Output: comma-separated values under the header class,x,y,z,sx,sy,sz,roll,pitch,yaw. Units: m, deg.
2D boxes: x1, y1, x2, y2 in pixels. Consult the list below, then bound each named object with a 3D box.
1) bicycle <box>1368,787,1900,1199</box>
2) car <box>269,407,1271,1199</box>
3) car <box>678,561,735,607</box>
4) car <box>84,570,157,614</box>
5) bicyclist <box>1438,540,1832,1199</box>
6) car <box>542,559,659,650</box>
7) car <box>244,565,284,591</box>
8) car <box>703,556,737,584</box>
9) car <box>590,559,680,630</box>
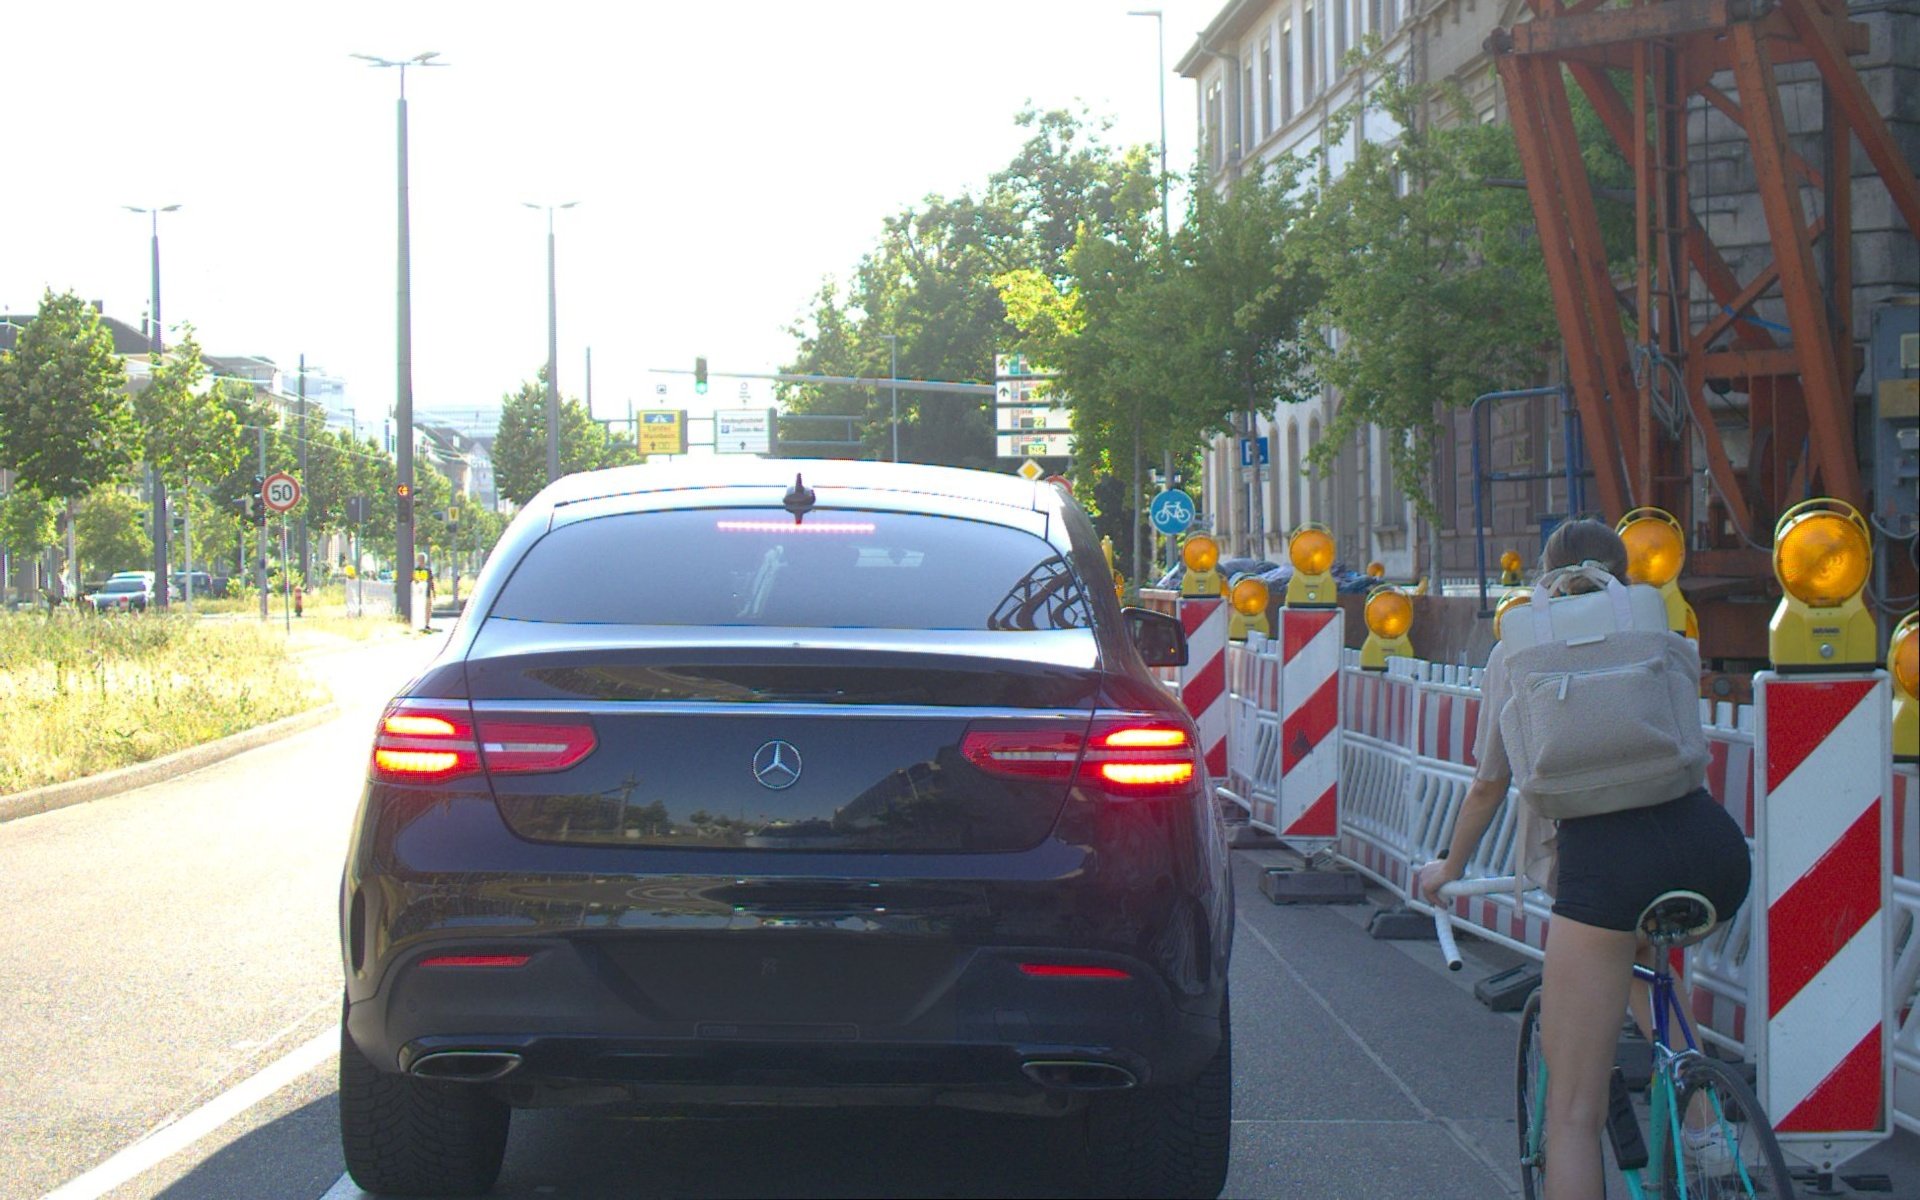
class,x,y,z,sx,sy,sz,roll,pitch,yaw
bicycle,1.144,0.919,6.175,0.512,1.048,1.725,1,1,-3
car,-0.405,0.488,8.911,1.993,1.766,4.000,1,1,-1
car,-8.184,-0.525,111.190,1.708,1.437,3.583,1,1,-3
car,-28.039,-0.274,114.874,1.708,1.437,3.583,1,1,-3
bicyclist,1.165,0.596,6.028,0.522,1.391,0.615,1,0,-3
car,-5.960,0.051,57.286,1.708,1.437,3.583,1,1,-3
car,-39.576,-1.247,195.559,1.708,1.437,3.583,1,1,-3
car,-12.806,-1.609,183.875,1.708,1.437,3.583,1,1,-3
car,-6.865,-0.128,72.886,1.708,1.437,3.583,1,1,-3
